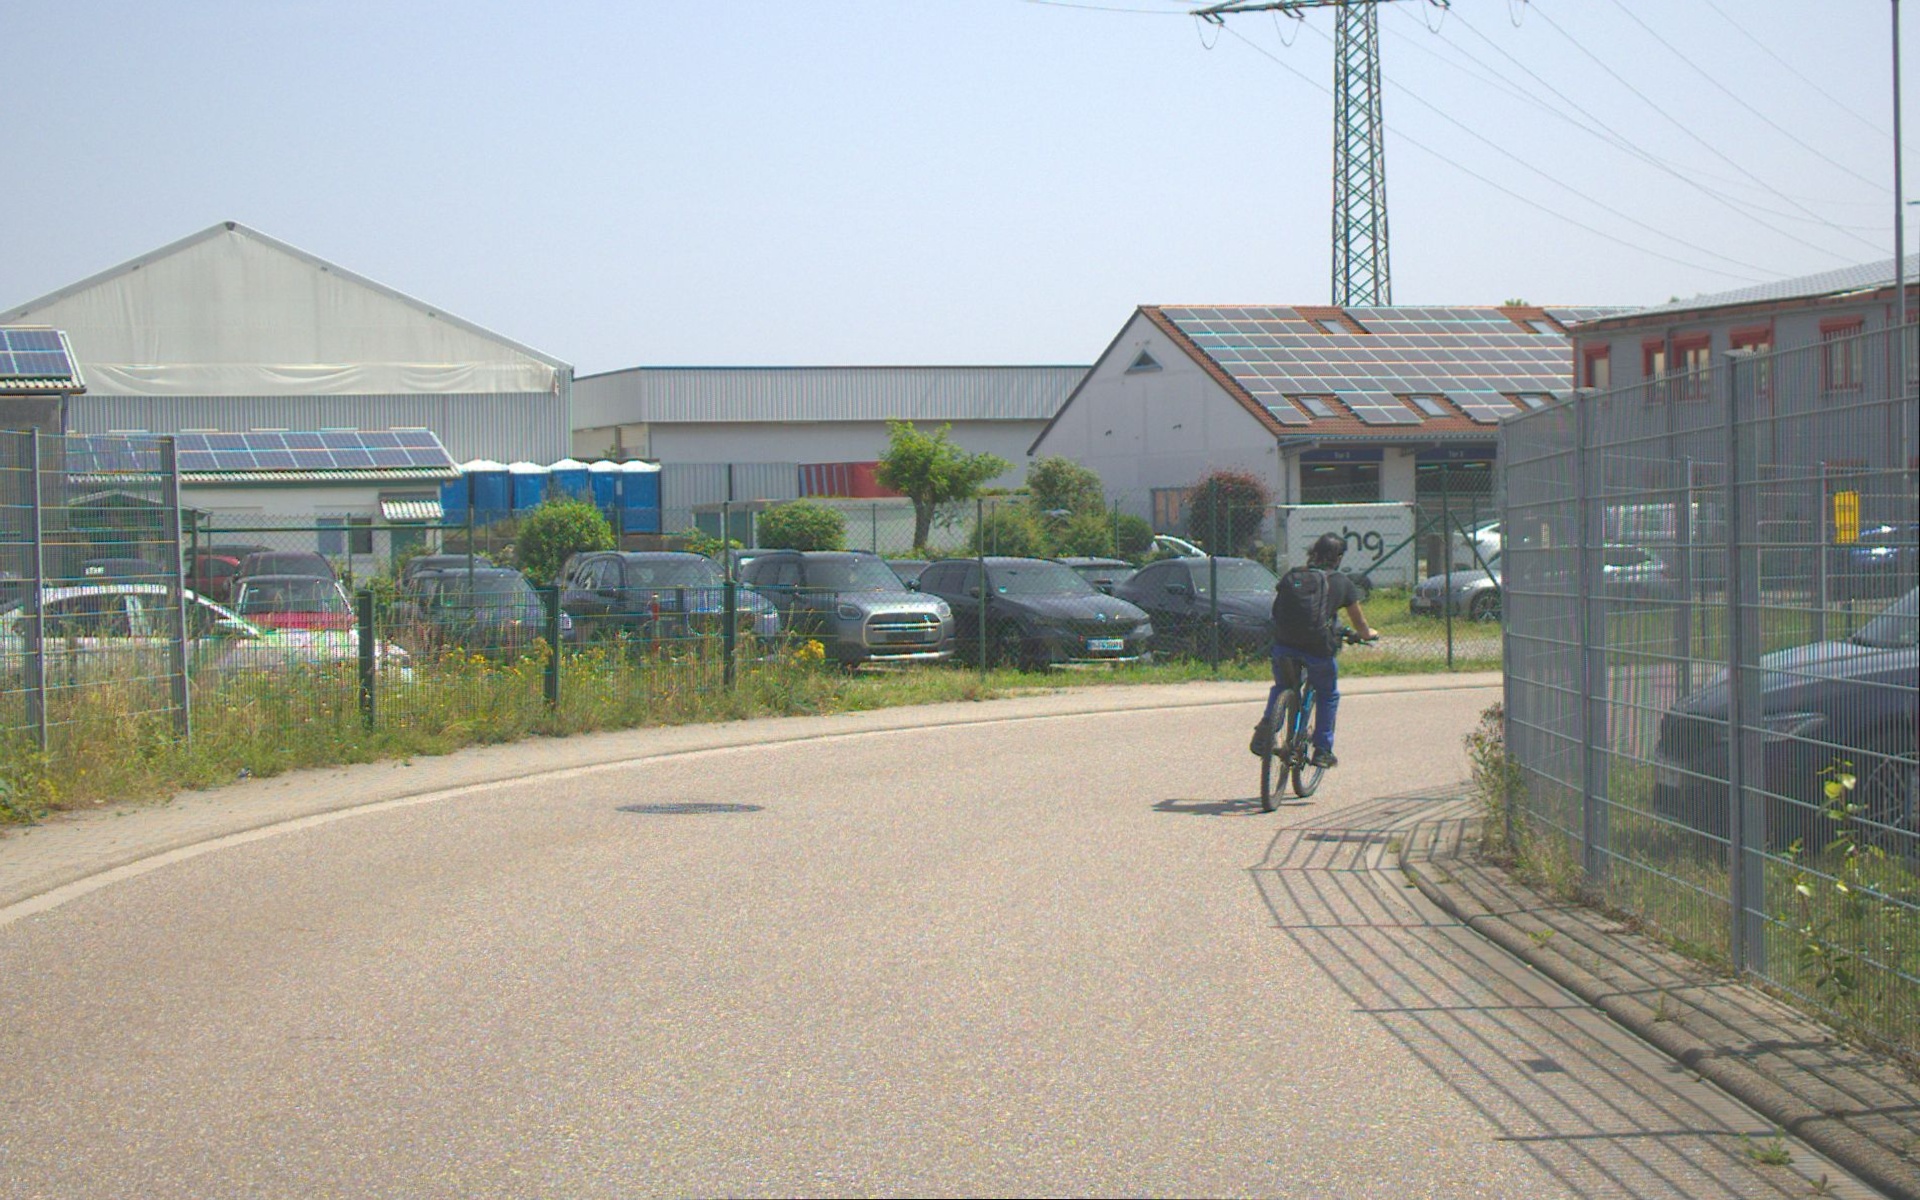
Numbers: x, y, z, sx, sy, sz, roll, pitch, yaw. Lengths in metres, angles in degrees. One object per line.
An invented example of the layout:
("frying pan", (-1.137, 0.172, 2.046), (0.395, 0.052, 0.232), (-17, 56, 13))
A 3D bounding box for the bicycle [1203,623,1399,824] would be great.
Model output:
("bicycle", (2.037, 0.702, 20.323), (0.685, 1.048, 1.899), (1, 2, 20))

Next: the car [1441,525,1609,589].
("car", (14.066, -1.080, 85.628), (3.893, 1.510, 1.508), (-1, 1, -21))

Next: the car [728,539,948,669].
("car", (-1.661, 0.027, 45.666), (1.862, 1.638, 3.635), (-1, 1, -20))

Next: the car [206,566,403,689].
("car", (-8.263, 0.315, 43.134), (1.862, 1.448, 3.442), (-1, 1, -20))

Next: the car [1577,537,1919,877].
("car", (5.294, 0.438, 15.918), (4.536, 1.469, 1.825), (-1, 1, 0))

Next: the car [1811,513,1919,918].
("car", (5.289, 0.402, 13.260), (3.538, 1.497, 1.712), (-1, 1, -3))

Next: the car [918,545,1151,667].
("car", (0.948, 0.052, 46.043), (1.862, 1.549, 3.771), (-1, 1, -20))

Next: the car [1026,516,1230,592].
("car", (3.621, -1.007, 74.331), (3.986, 1.593, 1.877), (-1, 1, -18))

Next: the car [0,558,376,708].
("car", (-7.846, 0.286, 31.798), (4.546, 1.302, 1.869), (-1, 1, -20))

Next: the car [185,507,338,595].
("car", (-11.930, -0.842, 58.514), (1.862, 1.428, 4.605), (-1, 1, -20))

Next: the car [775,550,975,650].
("car", (-1.349, -0.025, 52.714), (1.993, 1.415, 4.001), (-1, 1, -18))

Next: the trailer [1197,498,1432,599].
("trailer", (7.137, -1.048, 69.426), (4.447, 1.938, 1.715), (-1, 1, -5))

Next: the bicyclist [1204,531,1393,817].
("bicyclist", (1.996, 0.409, 20.175), (0.843, 1.613, 1.038), (1, 1, 21))

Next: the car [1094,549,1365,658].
("car", (3.700, 0.012, 48.159), (1.995, 1.430, 4.667), (-1, 1, -20))

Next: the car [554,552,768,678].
("car", (-3.947, 0.162, 44.898), (1.862, 1.556, 3.698), (-1, 1, -20))

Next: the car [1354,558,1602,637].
("car", (8.897, -0.064, 59.020), (4.127, 1.256, 1.235), (-1, 1, -21))

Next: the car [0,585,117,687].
("car", (-12.751, 0.463, 47.026), (1.862, 1.294, 3.442), (-1, 1, -22))

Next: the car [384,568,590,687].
("car", (-6.111, 0.315, 44.159), (1.862, 1.428, 3.650), (-1, 1, -20))
